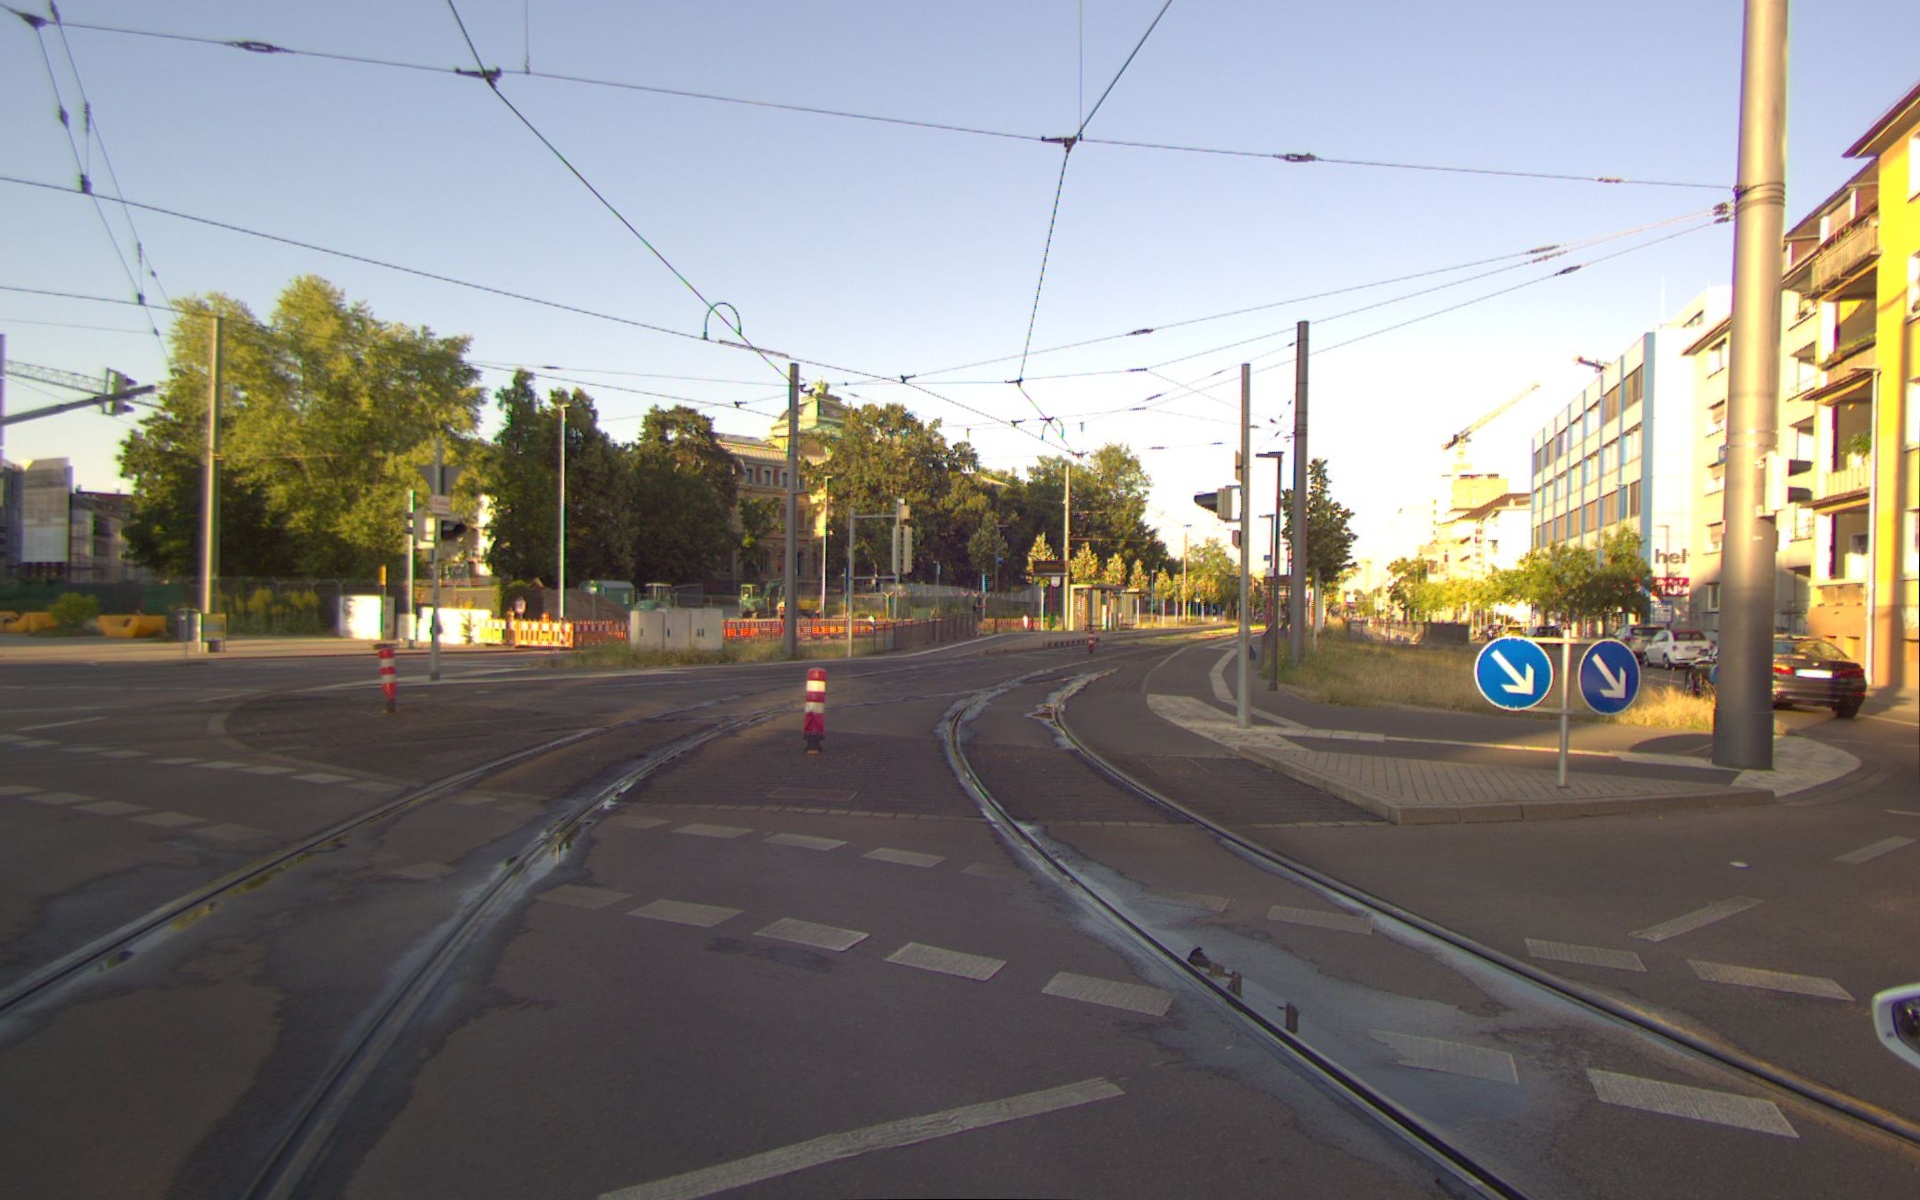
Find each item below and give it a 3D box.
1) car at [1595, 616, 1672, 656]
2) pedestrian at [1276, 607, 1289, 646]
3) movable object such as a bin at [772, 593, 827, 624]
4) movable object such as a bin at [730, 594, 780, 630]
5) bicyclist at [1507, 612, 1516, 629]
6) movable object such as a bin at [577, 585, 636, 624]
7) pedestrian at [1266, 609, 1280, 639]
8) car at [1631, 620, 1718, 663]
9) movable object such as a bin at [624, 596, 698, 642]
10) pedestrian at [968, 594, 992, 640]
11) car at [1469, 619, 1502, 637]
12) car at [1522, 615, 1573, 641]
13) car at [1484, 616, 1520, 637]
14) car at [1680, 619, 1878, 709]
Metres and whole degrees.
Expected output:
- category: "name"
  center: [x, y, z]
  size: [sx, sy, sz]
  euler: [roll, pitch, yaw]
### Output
- category: "car"
  center: [29.285, 1.572, 43.797]
  size: [1.728, 1.676, 4.529]
  euler: [-1, -2, 20]
- category: "pedestrian"
  center: [15.286, 1.262, 47.555]
  size: [0.464, 1.810, 0.625]
  euler: [1, -1, 28]
- category: "movable object such as a bin"
  center: [-12.521, 0.713, 78.641]
  size: [1.961, 2.276, 4.938]
  euler: [1, -1, 22]
- category: "movable object such as a bin"
  center: [-16.216, 0.969, 79.747]
  size: [1.961, 2.742, 3.999]
  euler: [1, -1, 22]
- category: "bicyclist"
  center: [49.036, 1.824, 89.266]
  size: [0.549, 1.495, 0.623]
  euler: [-2, -2, 18]
- category: "movable object such as a bin"
  center: [-26.478, 0.375, 75.442]
  size: [1.961, 2.742, 3.999]
  euler: [1, -1, 22]
- category: "pedestrian"
  center: [18.203, 1.390, 58.491]
  size: [0.712, 1.768, 0.636]
  euler: [0, 0, 13]
- category: "car"
  center: [27.685, 1.588, 39.020]
  size: [1.641, 1.537, 3.603]
  euler: [-3, -3, 17]
- category: "movable object such as a bin"
  center: [-18.396, 1.196, 61.994]
  size: [1.966, 2.742, 3.990]
  euler: [1, -1, 33]
- category: "pedestrian"
  center: [0.810, 0.684, 40.178]
  size: [0.683, 1.822, 0.817]
  euler: [1, -1, 22]
- category: "car"
  center: [44.036, 2.357, 84.179]
  size: [1.789, 1.473, 4.130]
  euler: [0, -2, 18]
- category: "car"
  center: [36.599, 1.721, 62.691]
  size: [1.789, 1.587, 4.811]
  euler: [-1, -1, 18]
- category: "car"
  center: [40.228, 1.976, 74.663]
  size: [1.655, 1.474, 4.131]
  euler: [1, -1, 18]
- category: "car"
  center: [16.037, 1.210, 19.940]
  size: [1.828, 1.481, 4.192]
  euler: [3, -1, 22]
